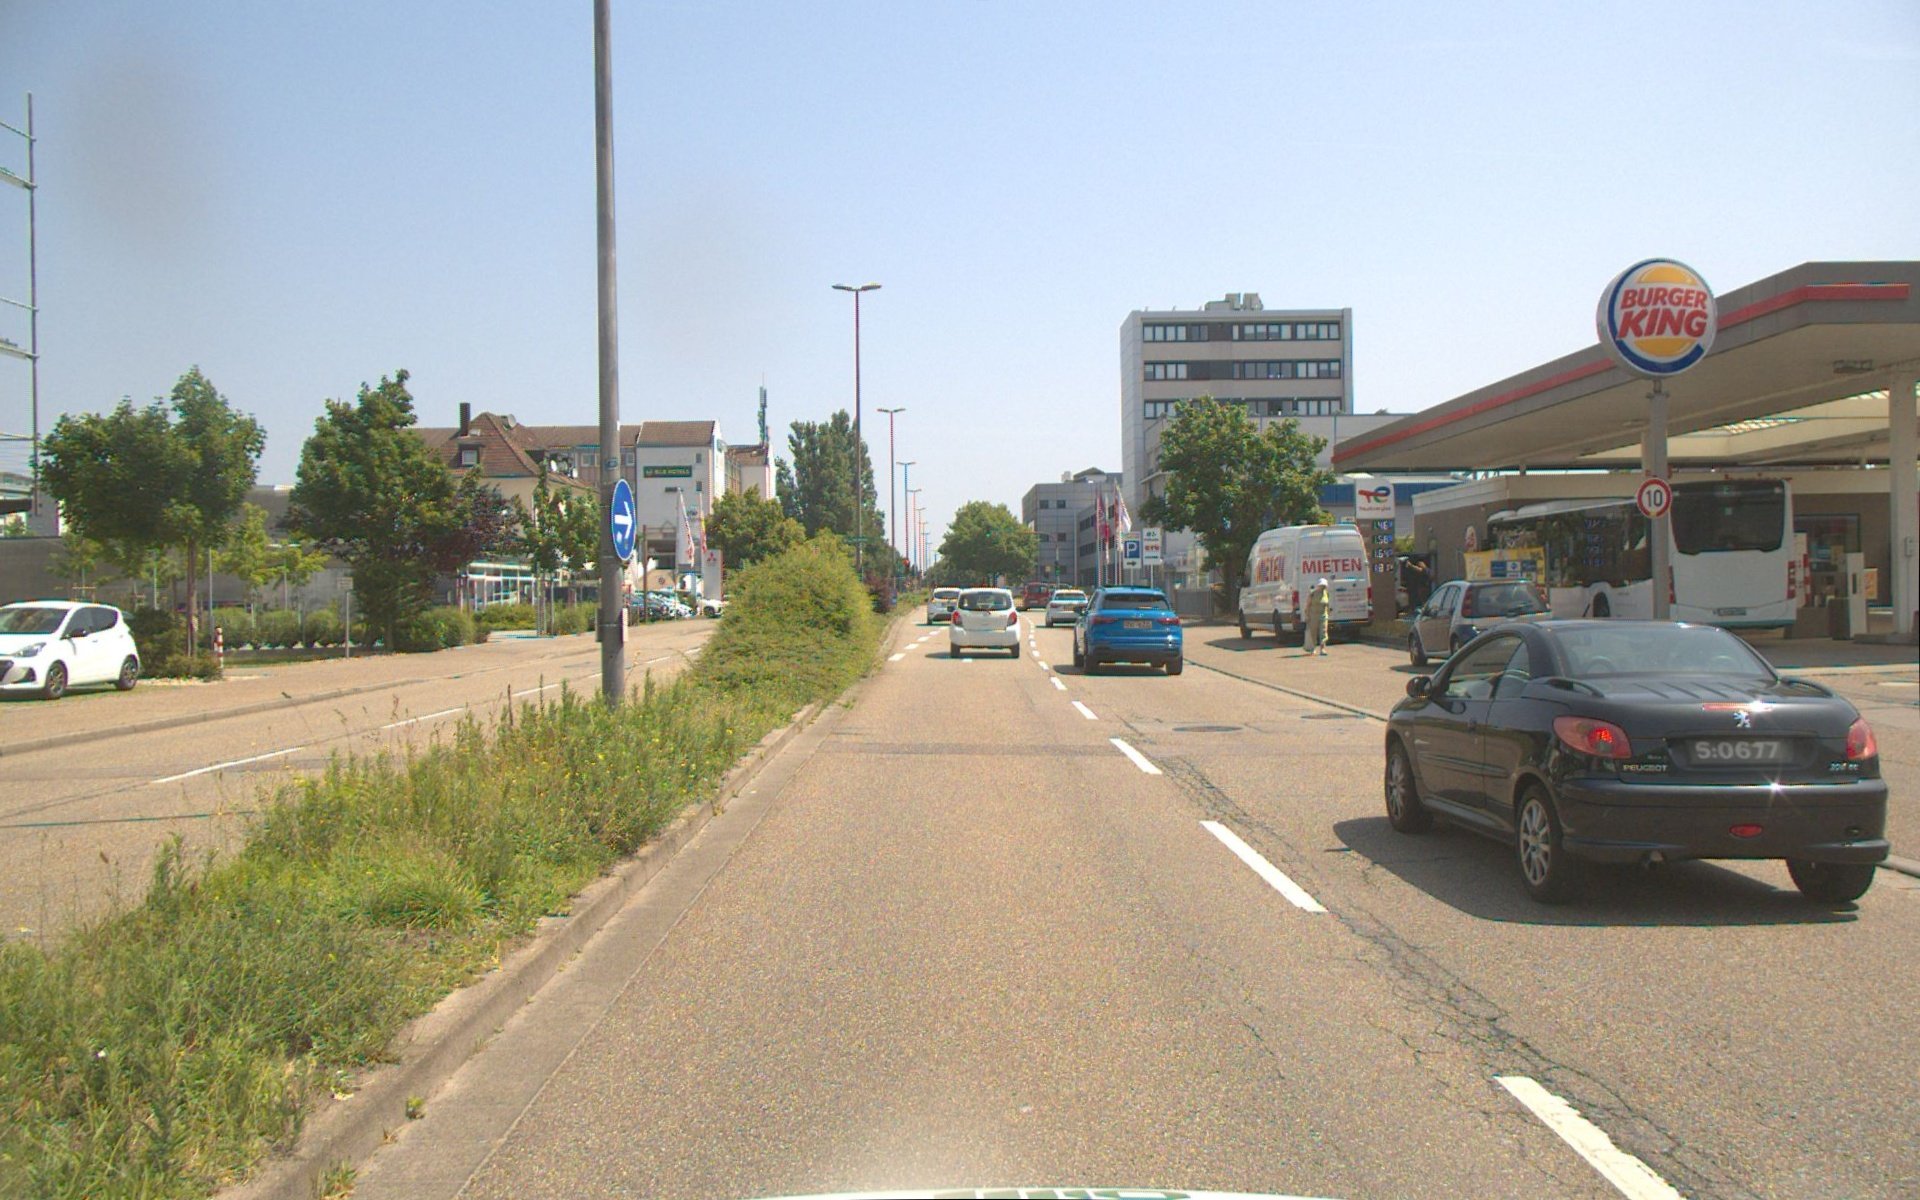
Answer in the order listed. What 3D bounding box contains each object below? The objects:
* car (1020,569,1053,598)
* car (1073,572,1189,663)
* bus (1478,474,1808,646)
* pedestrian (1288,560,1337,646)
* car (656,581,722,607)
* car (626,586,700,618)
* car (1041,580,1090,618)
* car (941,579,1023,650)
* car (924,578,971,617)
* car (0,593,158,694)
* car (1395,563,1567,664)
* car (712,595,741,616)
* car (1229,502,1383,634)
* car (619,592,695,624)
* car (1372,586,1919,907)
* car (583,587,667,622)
[{"bbox_3d":[4.895,-1.051,105.994,1.759,1.759,3.970,0,-1,-3],"label":"car"},{"bbox_3d":[3.217,0.292,31.867,1.873,1.625,4.396,0,0,1],"label":"car"},{"bbox_3d":[14.478,-0.866,36.565,2.746,3.132,12.290,0,1,3],"label":"bus"},{"bbox_3d":[7.477,0.067,35.112,0.798,1.779,0.703,-3,0,-1],"label":"pedestrian"},{"bbox_3d":[-17.376,-0.352,106.155,3.904,1.579,1.865,0,-2,2],"label":"car"},{"bbox_3d":[-17.506,0.142,97.550,3.938,1.761,1.891,1,-2,-27],"label":"car"},{"bbox_3d":[4.038,-0.053,63.716,1.633,1.423,3.793,0,0,0],"label":"car"},{"bbox_3d":[0.468,0.331,37.937,1.678,1.537,3.245,0,0,-3],"label":"car"},{"bbox_3d":[-0.472,-0.060,66.473,1.792,1.475,4.000,0,-1,1],"label":"car"},{"bbox_3d":[-14.822,0.659,26.904,1.645,1.521,4.041,0,0,-1],"label":"car"},{"bbox_3d":[8.782,0.210,28.183,1.623,1.545,3.819,-2,0,-1],"label":"car"},{"bbox_3d":[-16.727,0.381,118.455,1.865,1.378,3.995,1,-2,-6],"label":"car"},{"bbox_3d":[8.553,-0.756,41.666,2.090,2.888,7.308,-3,0,-1],"label":"car"},{"bbox_3d":[-16.980,0.484,92.788,3.907,1.713,1.998,0,-2,-3],"label":"car"},{"bbox_3d":[3.598,0.658,9.350,1.567,1.450,3.660,0,0,-1],"label":"car"},{"bbox_3d":[-16.956,0.218,83.867,3.908,1.694,1.887,0,-2,-3],"label":"car"}]
